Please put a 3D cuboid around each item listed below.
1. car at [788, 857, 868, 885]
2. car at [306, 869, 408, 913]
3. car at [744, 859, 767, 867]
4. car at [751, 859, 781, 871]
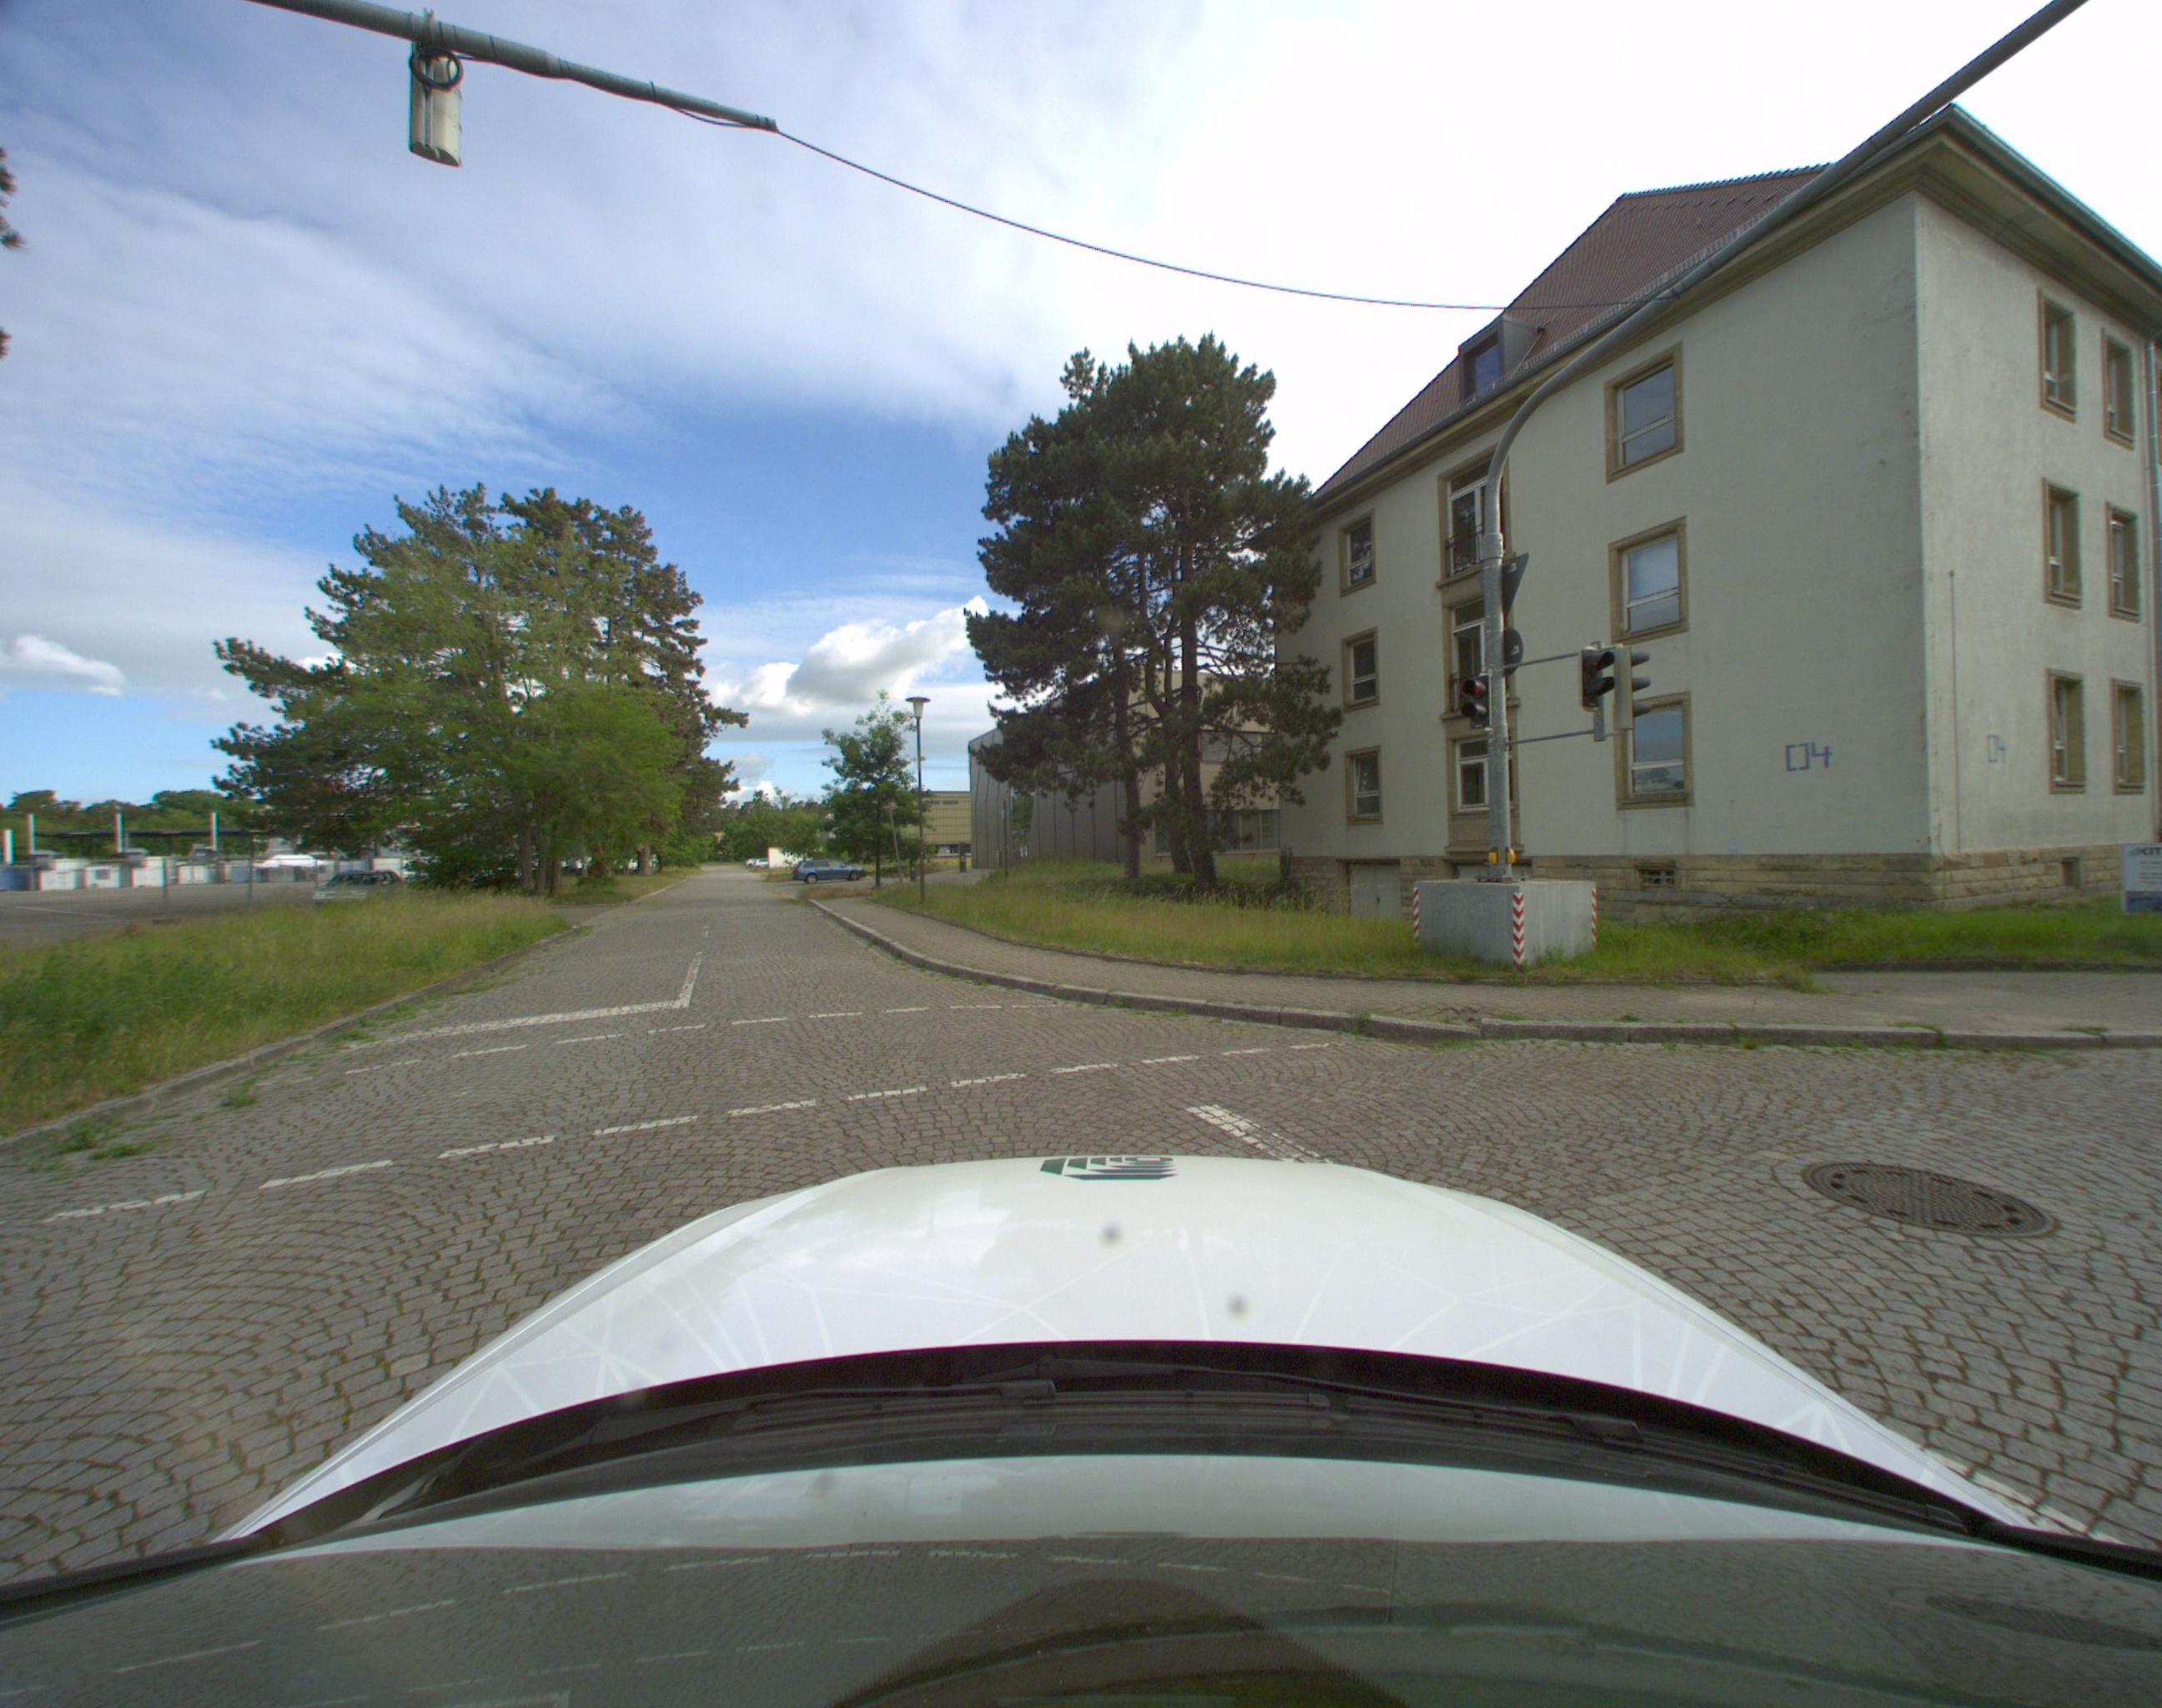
[{"bbox_3d":[-15.969,1.043,51.512,4.548,1.443,1.807,-4,1,-28],"label":"car"},{"bbox_3d":[-27.130,1.331,30.688,1.724,1.438,4.428,-2,0,-26],"label":"car"},{"bbox_3d":[-63.972,1.822,160.126,4.043,1.502,1.536,-2,0,-23],"label":"car"},{"bbox_3d":[-45.740,1.567,118.124,3.870,1.654,1.671,-2,0,-27],"label":"car"}]
